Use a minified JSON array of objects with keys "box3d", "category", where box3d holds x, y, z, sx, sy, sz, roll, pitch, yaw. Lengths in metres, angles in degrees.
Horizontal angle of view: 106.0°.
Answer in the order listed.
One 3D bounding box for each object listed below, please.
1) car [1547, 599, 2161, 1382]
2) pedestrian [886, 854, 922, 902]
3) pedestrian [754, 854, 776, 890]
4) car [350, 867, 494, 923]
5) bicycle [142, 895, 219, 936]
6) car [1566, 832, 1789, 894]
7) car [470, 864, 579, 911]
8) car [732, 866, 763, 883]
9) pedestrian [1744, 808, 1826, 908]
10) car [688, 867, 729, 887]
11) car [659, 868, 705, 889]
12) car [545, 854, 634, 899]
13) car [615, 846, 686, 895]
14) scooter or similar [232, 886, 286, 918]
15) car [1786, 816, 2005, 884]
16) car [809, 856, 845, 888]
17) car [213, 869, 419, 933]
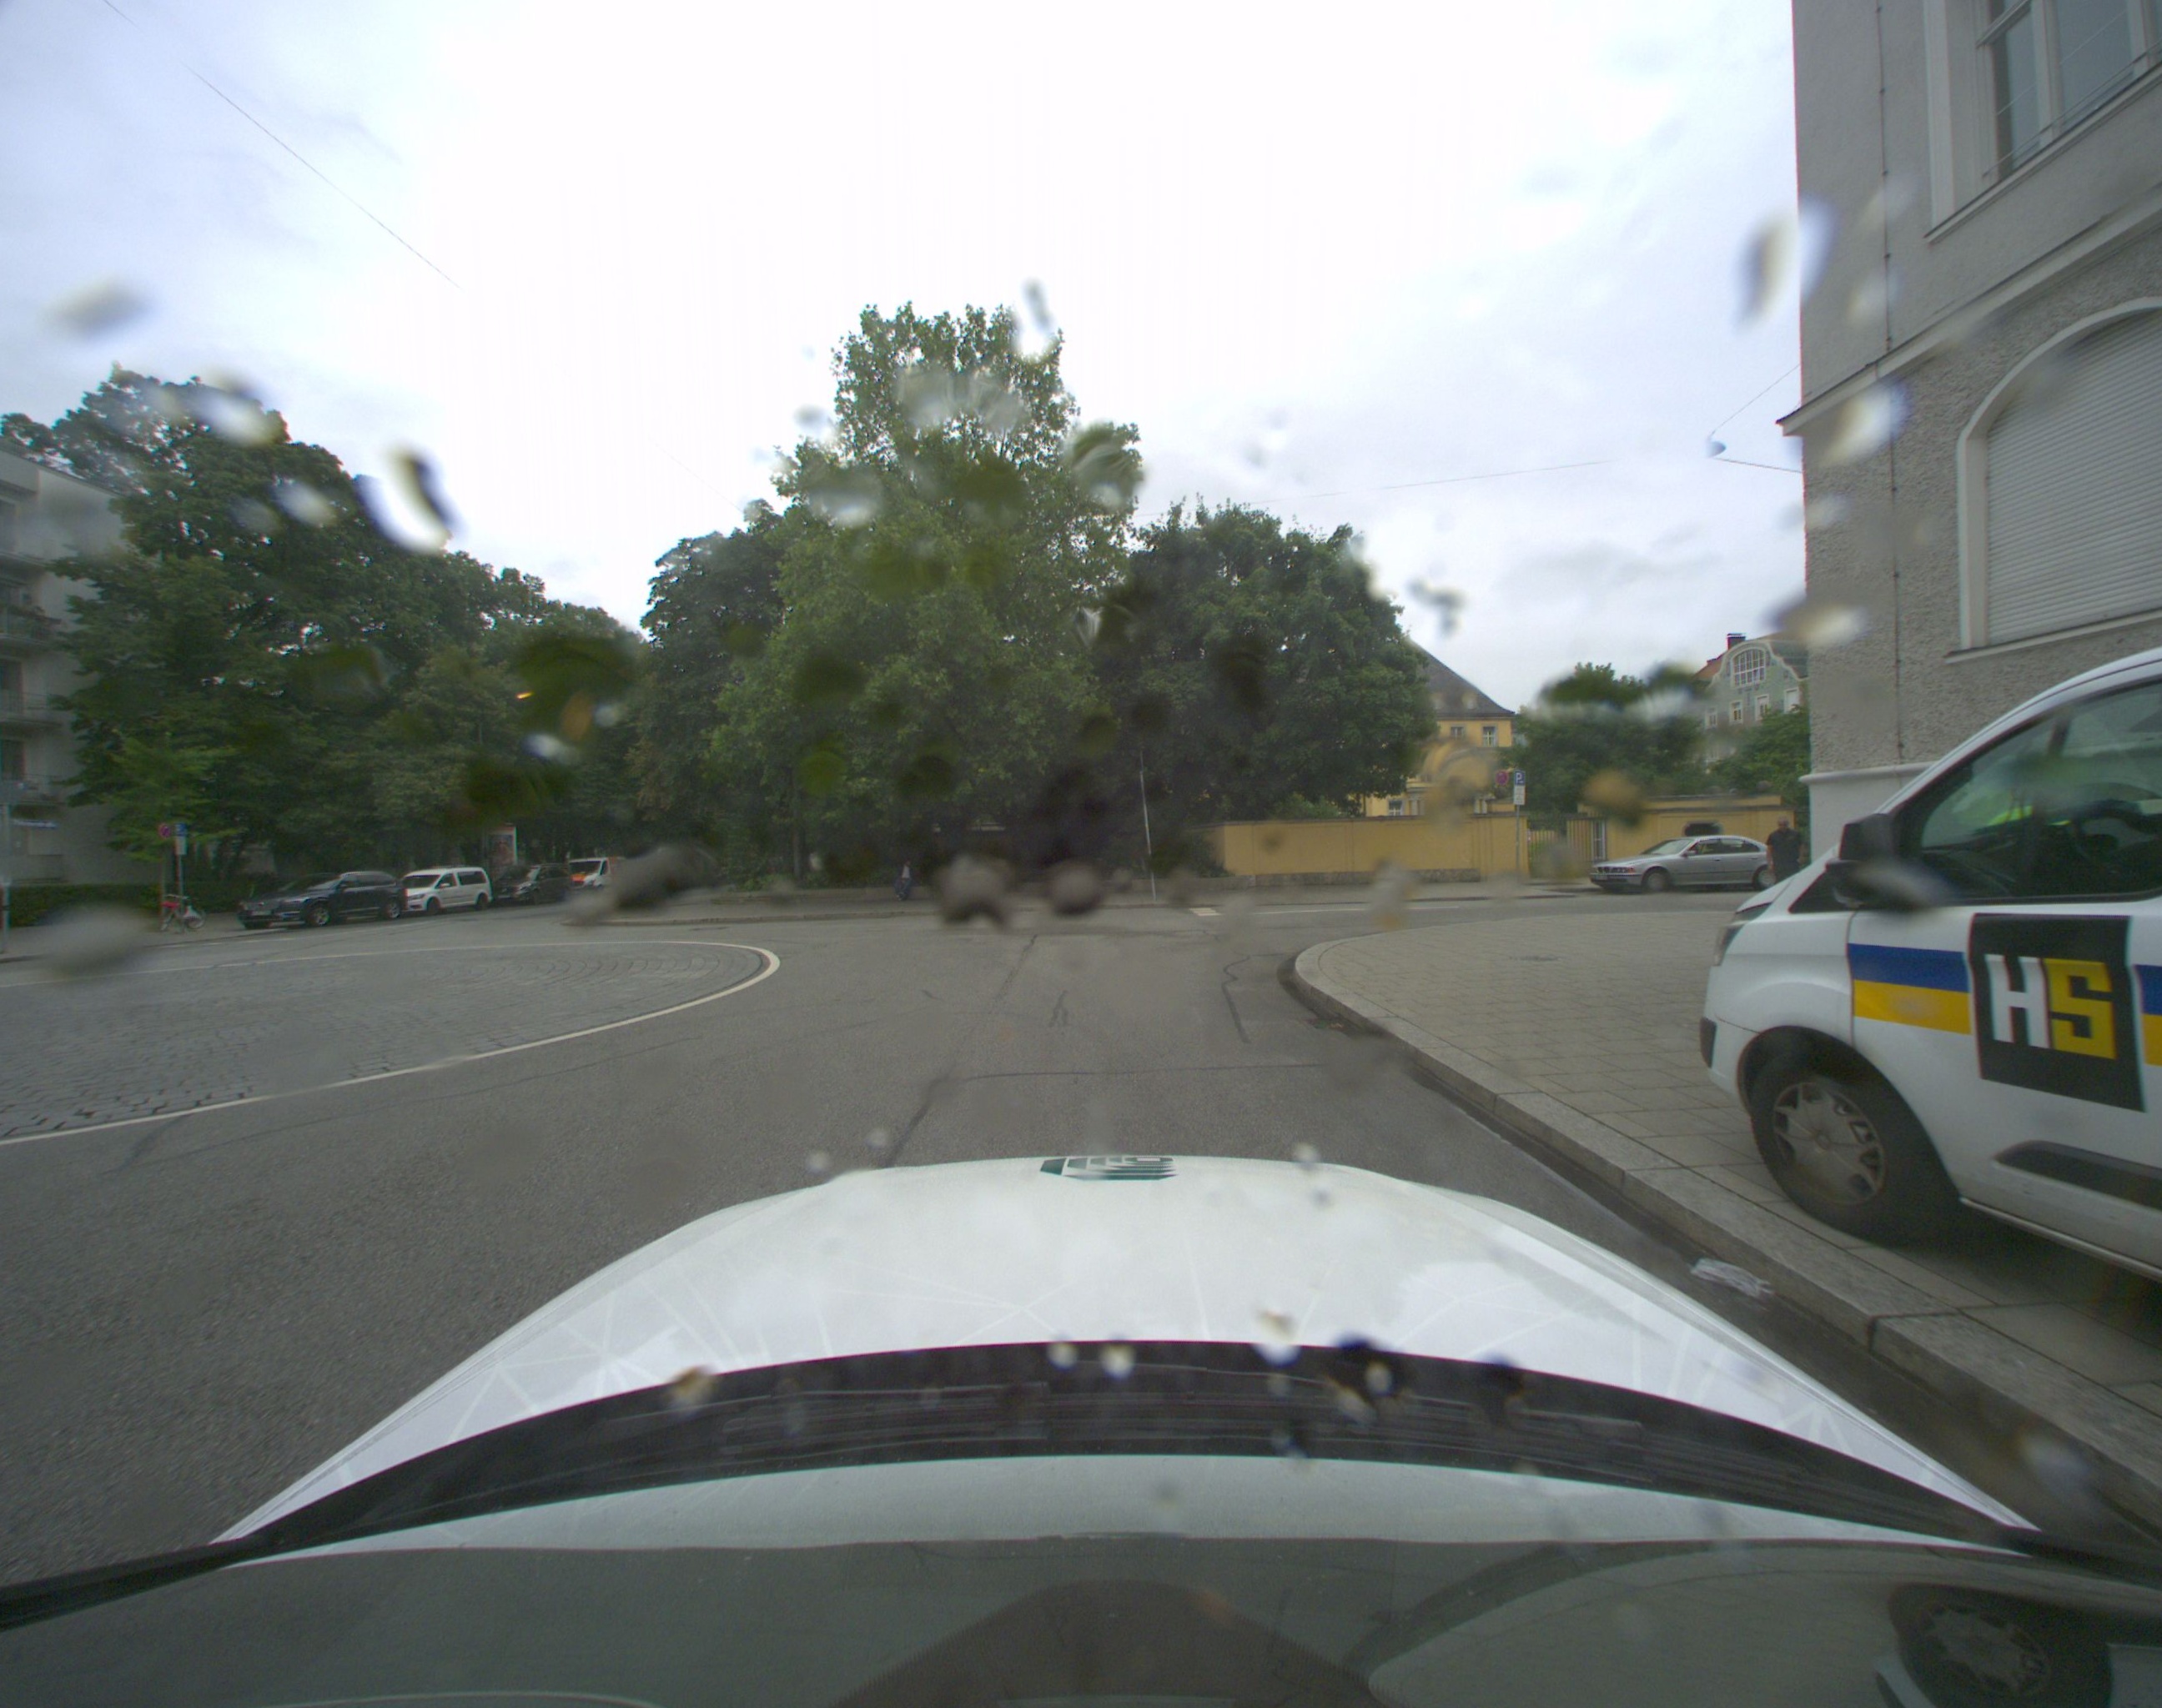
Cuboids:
[{"box3d":[3.599,0.297,1.785,1.933,1.922,5.372,-3,0,-1],"category":"car"},{"box3d":[-5.235,0.689,24.179,0.766,1.356,1.132,-2,0,1],"category":"pedestrian"},{"box3d":[-16.621,0.939,42.873,0.826,1.836,0.942,-2,0,-35],"category":"pedestrian"},{"box3d":[-25.739,1.530,32.100,2.082,1.903,4.846,-2,0,-7],"category":"car"},{"box3d":[-27.260,1.828,24.702,0.753,1.085,1.773,-2,0,-18],"category":"bicycle"},{"box3d":[15.307,0.216,21.057,4.436,1.368,1.801,-2,0,0],"category":"car"},{"box3d":[-26.451,1.528,38.990,2.026,1.908,5.648,-4,0,-10],"category":"car"},{"box3d":[-32.439,1.942,79.264,1.994,1.486,4.113,-2,0,-11],"category":"car"},{"box3d":[13.221,0.067,15.304,0.935,1.801,0.988,-2,0,-40],"category":"pedestrian"},{"box3d":[-30.110,1.833,65.947,1.994,1.420,4.113,-2,0,-11],"category":"car"},{"box3d":[-29.545,1.795,60.433,1.994,1.420,3.985,-2,0,-11],"category":"car"},{"box3d":[-27.602,1.196,45.974,2.082,2.264,5.587,-4,0,-8],"category":"car"},{"box3d":[-28.836,1.065,54.813,2.172,3.002,6.214,-2,0,-9],"category":"car"},{"box3d":[-33.588,1.941,33.302,0.701,1.191,1.652,-2,0,-10],"category":"scooter or similar"},{"box3d":[21.141,-0.103,21.263,3.932,1.547,1.796,-2,0,-1],"category":"car"},{"box3d":[-21.445,1.471,69.014,1.992,2.558,5.415,-2,0,-8],"category":"car"},{"box3d":[-24.932,1.449,26.915,2.081,1.719,5.294,-2,0,-6],"category":"car"}]
